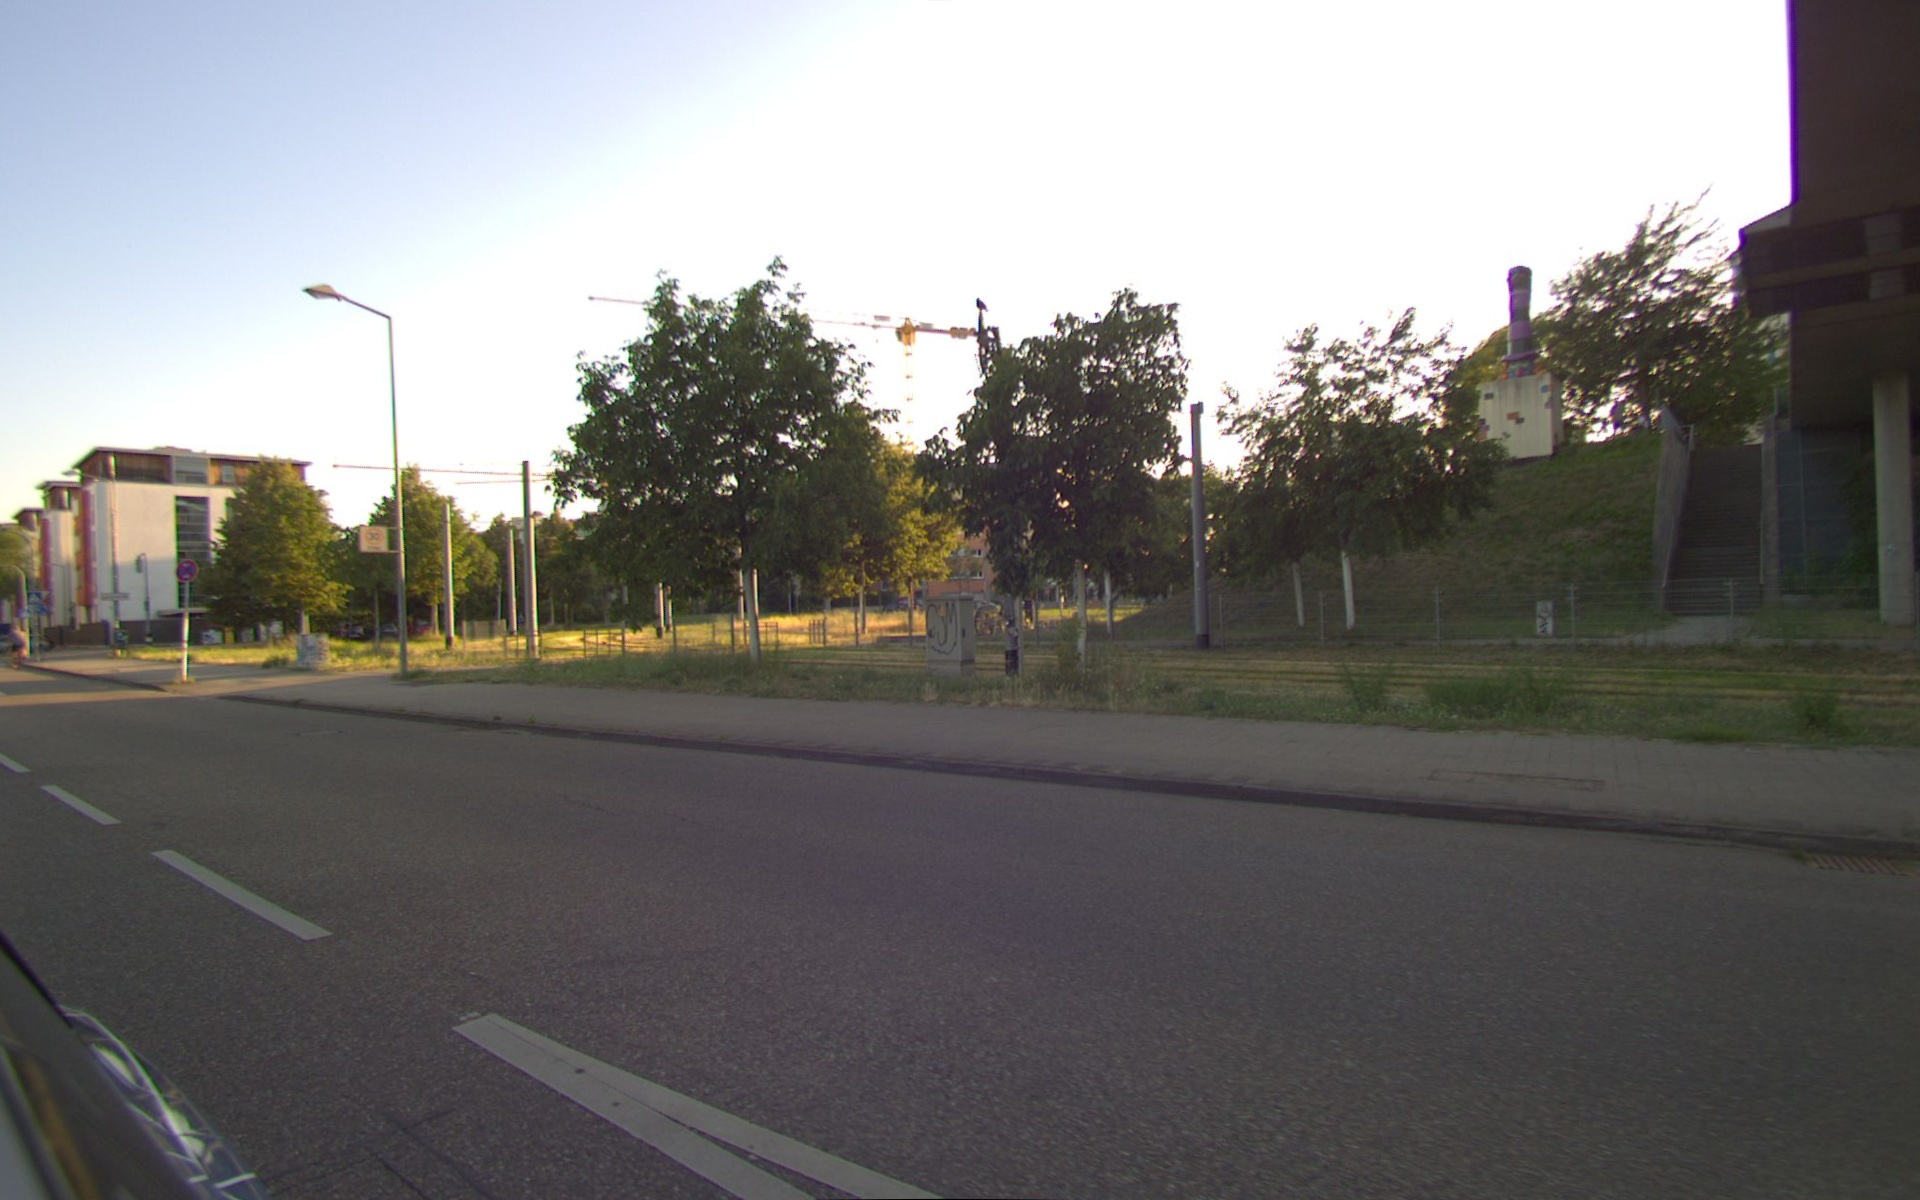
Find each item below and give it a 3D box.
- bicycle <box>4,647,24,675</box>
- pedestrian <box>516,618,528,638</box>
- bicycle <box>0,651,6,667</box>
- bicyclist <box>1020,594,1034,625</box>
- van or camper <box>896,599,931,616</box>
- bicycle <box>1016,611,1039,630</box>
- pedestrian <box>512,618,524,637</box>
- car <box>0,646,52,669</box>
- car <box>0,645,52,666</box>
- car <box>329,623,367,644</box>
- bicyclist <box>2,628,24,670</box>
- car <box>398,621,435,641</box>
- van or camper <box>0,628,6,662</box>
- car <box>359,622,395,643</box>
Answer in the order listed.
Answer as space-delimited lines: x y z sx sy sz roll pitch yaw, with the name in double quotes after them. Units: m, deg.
-38.290 2.460 40.947 0.532 1.051 1.926 -2 -1 -44 "bicycle"
-38.167 2.454 88.249 0.732 1.679 0.625 -3 1 -41 "pedestrian"
-68.891 4.249 71.647 0.566 1.074 1.799 -3 2 40 "bicycle"
3.343 0.464 50.474 0.424 1.506 0.507 -4 -1 43 "bicyclist"
-5.369 0.893 116.871 3.881 1.707 1.808 -4 -1 45 "van or camper"
3.376 1.031 50.450 0.431 0.907 1.219 -3 -1 41 "bicycle"
-38.791 2.435 88.768 0.702 1.611 0.657 -4 1 -41 "pedestrian"
-72.146 4.429 76.635 1.709 1.489 4.854 -3 1 40 "car"
-69.908 4.072 74.627 1.679 1.469 4.236 -3 -3 40 "car"
-46.461 2.548 76.805 3.412 1.533 1.666 -2 0 45 "car"
-38.321 1.983 40.940 0.607 1.675 1.037 -2 -1 -44 "bicyclist"
-42.800 2.454 79.703 3.412 1.511 1.571 -2 0 45 "car"
-93.527 4.394 94.403 2.439 3.110 6.238 -3 0 38 "van or camper"
-44.958 2.515 78.046 3.412 1.511 1.571 -2 0 45 "car"
